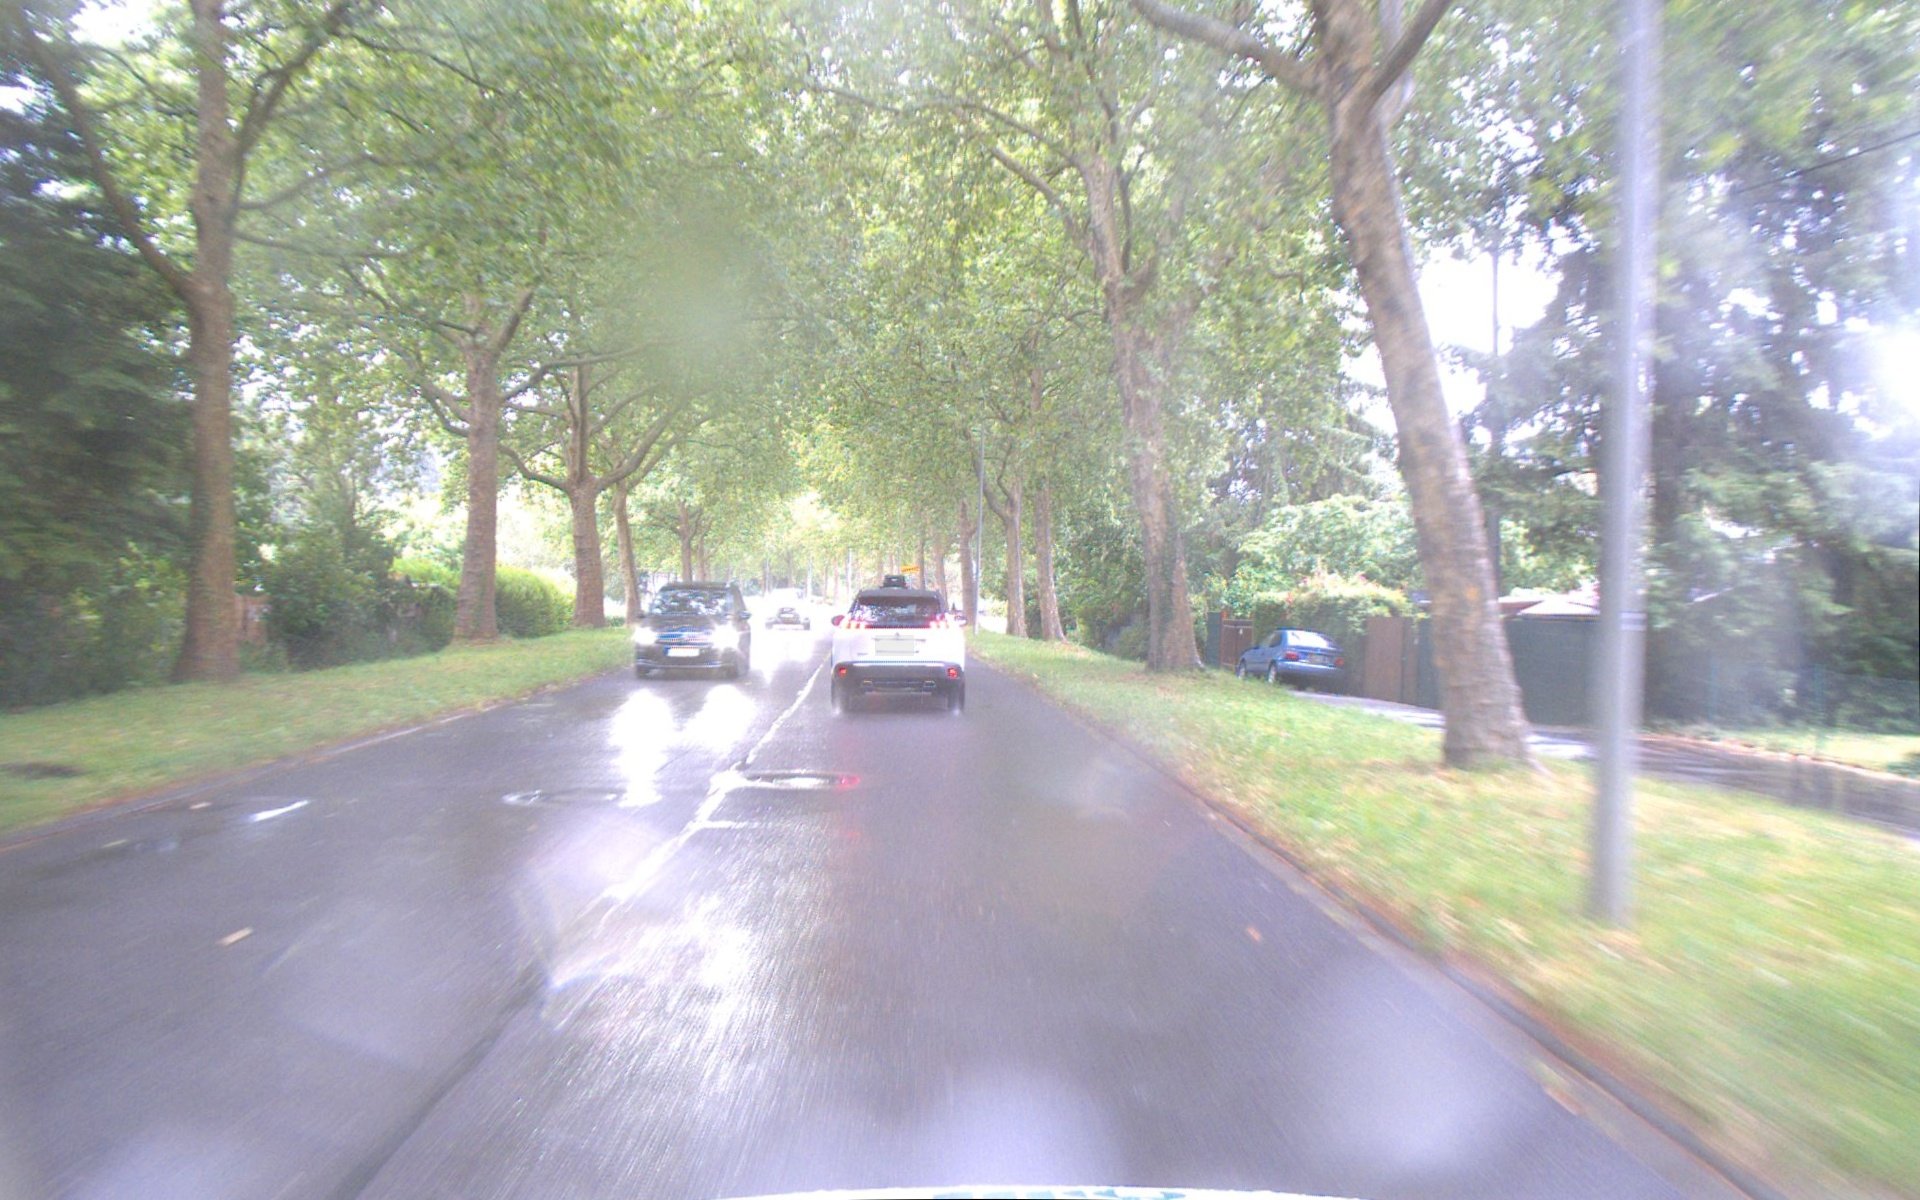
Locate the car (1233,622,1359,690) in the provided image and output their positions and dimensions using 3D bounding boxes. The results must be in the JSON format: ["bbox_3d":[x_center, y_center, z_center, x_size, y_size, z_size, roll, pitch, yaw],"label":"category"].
[{"bbox_3d":[8.121,1.330,40.348,1.762,1.348,3.994,6,-1,-7],"label":"car"}]

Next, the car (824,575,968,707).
[{"bbox_3d":[-0.824,0.514,22.623,1.757,1.606,3.843,1,0,-1],"label":"car"}]

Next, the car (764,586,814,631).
[{"bbox_3d":[-7.059,0.336,68.636,1.772,1.758,4.452,1,0,-3],"label":"car"}]

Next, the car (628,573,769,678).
[{"bbox_3d":[-4.587,0.413,29.648,1.781,1.683,4.773,1,0,-1],"label":"car"}]
